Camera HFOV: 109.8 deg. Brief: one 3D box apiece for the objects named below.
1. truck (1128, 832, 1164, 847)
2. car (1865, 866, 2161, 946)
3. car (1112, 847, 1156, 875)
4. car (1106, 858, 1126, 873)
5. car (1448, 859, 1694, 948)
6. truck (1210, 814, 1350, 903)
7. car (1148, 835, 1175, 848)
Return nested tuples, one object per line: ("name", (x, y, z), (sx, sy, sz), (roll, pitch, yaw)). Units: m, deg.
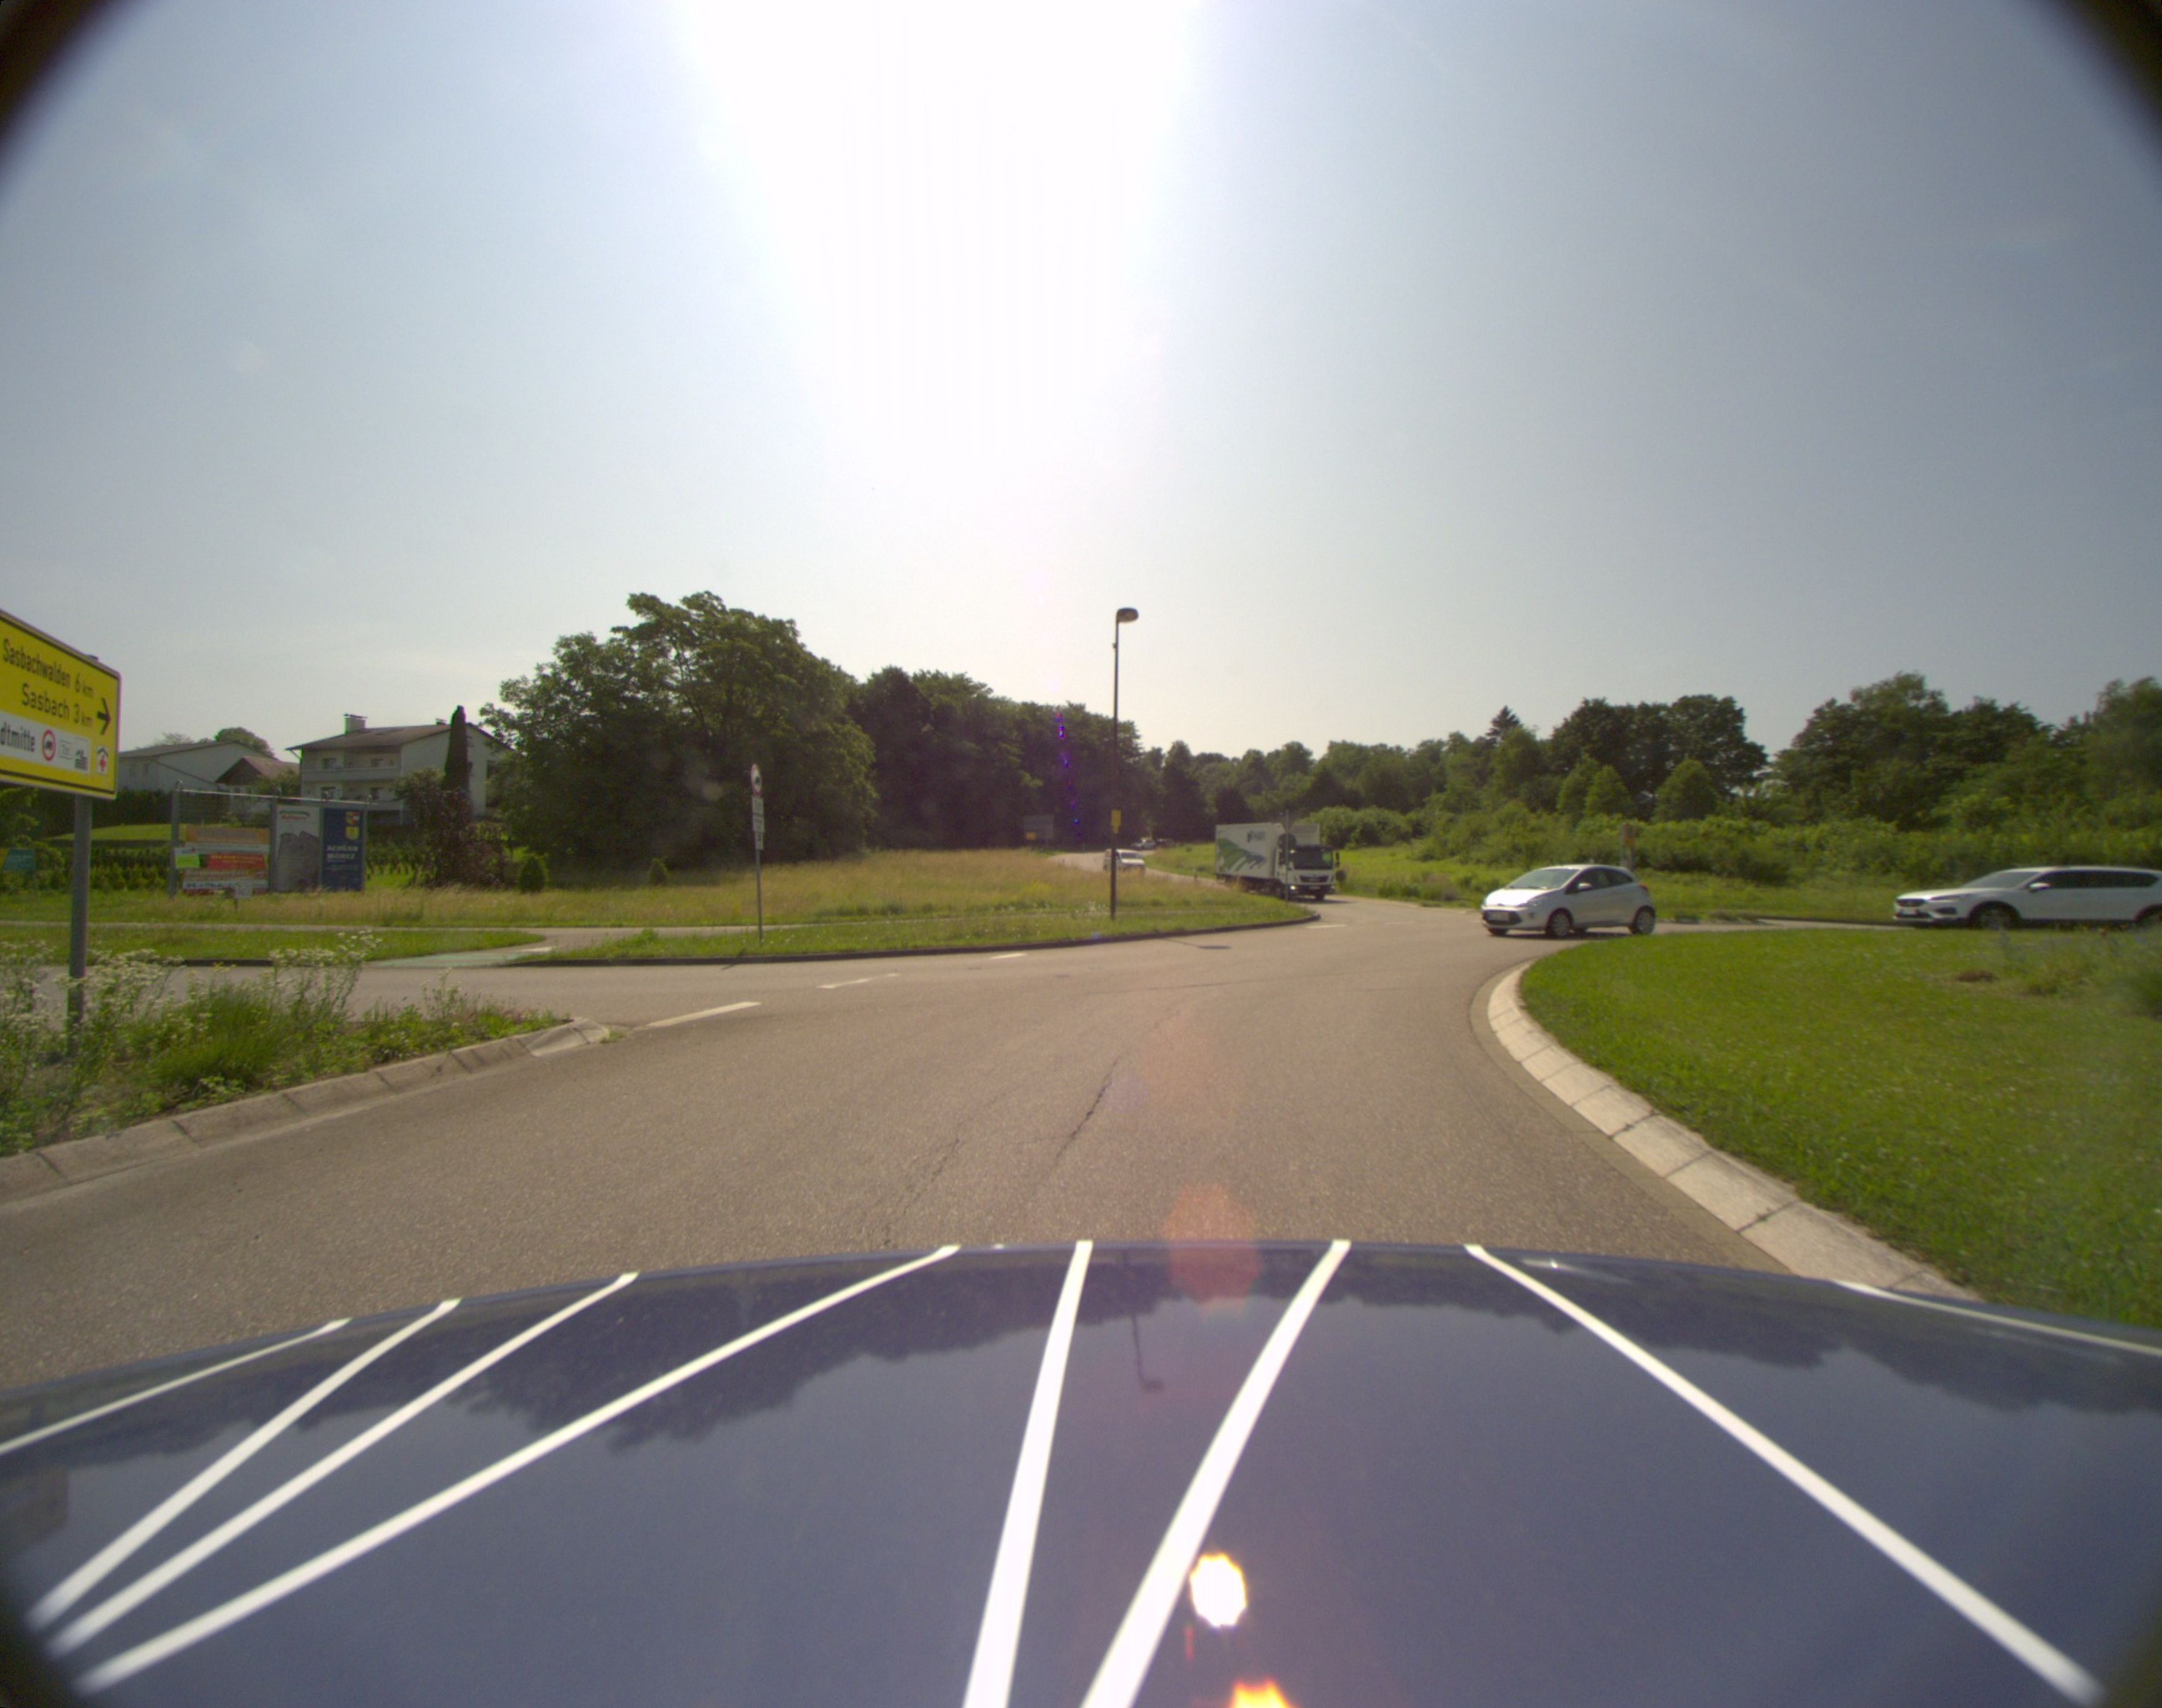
("truck", (9.261, -2.038, 107.798), (2.356, 2.002, 5.451), (0, 1, 40))
("car", (22.034, 1.149, 17.500), (5.111, 1.642, 2.200), (-1, 0, 17))
("car", (3.987, 0.476, 58.701), (2.000, 2.002, 5.596), (-1, 1, -11))
("car", (3.658, 1.202, 79.320), (1.757, 1.520, 4.213), (3, -1, -1))
("car", (10.305, 0.983, 16.076), (4.202, 1.606, 2.126), (-1, -2, -17))
("truck", (9.454, 0.143, 37.511), (2.901, 3.807, 9.012), (-1, 1, -13))
("car", (11.134, -1.740, 105.078), (1.907, 1.586, 4.383), (2, -1, 32))
